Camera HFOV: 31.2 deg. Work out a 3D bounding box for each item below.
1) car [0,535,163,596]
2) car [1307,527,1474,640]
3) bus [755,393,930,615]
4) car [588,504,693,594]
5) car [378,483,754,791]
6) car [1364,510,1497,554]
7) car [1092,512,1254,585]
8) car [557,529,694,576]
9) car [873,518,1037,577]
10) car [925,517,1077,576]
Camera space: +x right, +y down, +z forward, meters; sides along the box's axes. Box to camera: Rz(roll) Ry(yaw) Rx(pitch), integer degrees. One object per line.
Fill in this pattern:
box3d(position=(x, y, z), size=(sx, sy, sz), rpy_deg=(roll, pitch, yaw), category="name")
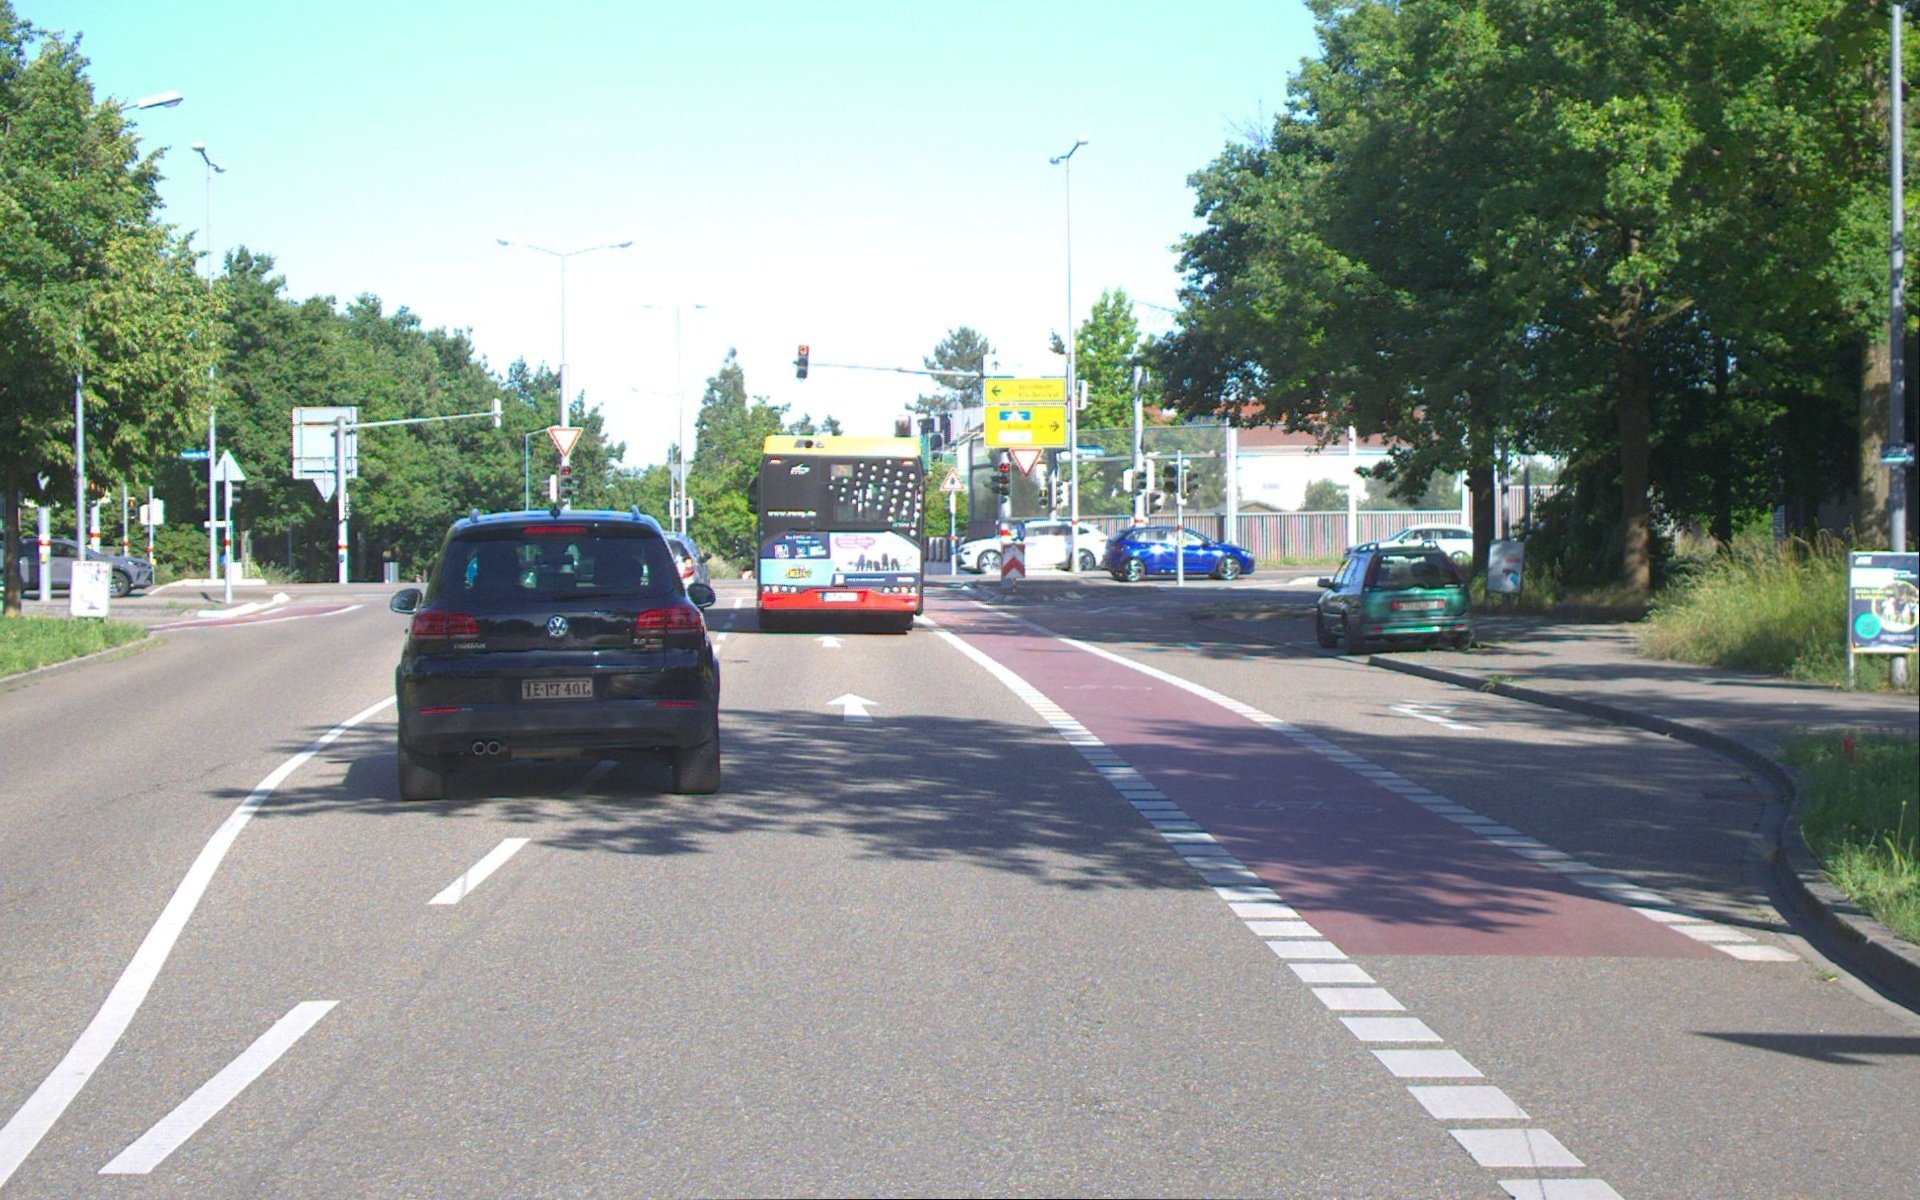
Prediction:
box3d(position=(-22.511, -0.879, 87.328), size=(4.220, 1.475, 1.764), rpy_deg=(1, 0, -7), category="car")
box3d(position=(5.810, -0.245, 46.796), size=(1.592, 1.424, 4.204), rpy_deg=(-2, 1, -2), category="car")
box3d(position=(-2.037, -1.599, 57.964), size=(2.596, 3.323, 11.985), rpy_deg=(1, 1, -2), category="bus")
box3d(position=(-6.042, -0.954, 64.762), size=(1.753, 1.615, 4.034), rpy_deg=(-1, 1, -8), category="car")
box3d(position=(-2.276, 0.188, 20.813), size=(1.821, 1.668, 4.003), rpy_deg=(-1, 0, 0), category="car")
box3d(position=(14.856, -2.145, 108.718), size=(3.845, 1.335, 1.683), rpy_deg=(1, 0, -7), category="car")
box3d(position=(5.643, -1.364, 91.303), size=(3.986, 1.873, 2.000), rpy_deg=(1, 0, -6), category="car")
box3d(position=(-9.892, -1.393, 101.519), size=(3.891, 1.335, 1.683), rpy_deg=(1, 0, -11), category="car")
box3d(position=(-0.101, -1.180, 77.052), size=(3.523, 1.297, 1.574), rpy_deg=(0, 1, 7), category="car")
box3d(position=(1.219, -1.599, 103.257), size=(4.382, 1.677, 1.712), rpy_deg=(1, 0, -6), category="car")
